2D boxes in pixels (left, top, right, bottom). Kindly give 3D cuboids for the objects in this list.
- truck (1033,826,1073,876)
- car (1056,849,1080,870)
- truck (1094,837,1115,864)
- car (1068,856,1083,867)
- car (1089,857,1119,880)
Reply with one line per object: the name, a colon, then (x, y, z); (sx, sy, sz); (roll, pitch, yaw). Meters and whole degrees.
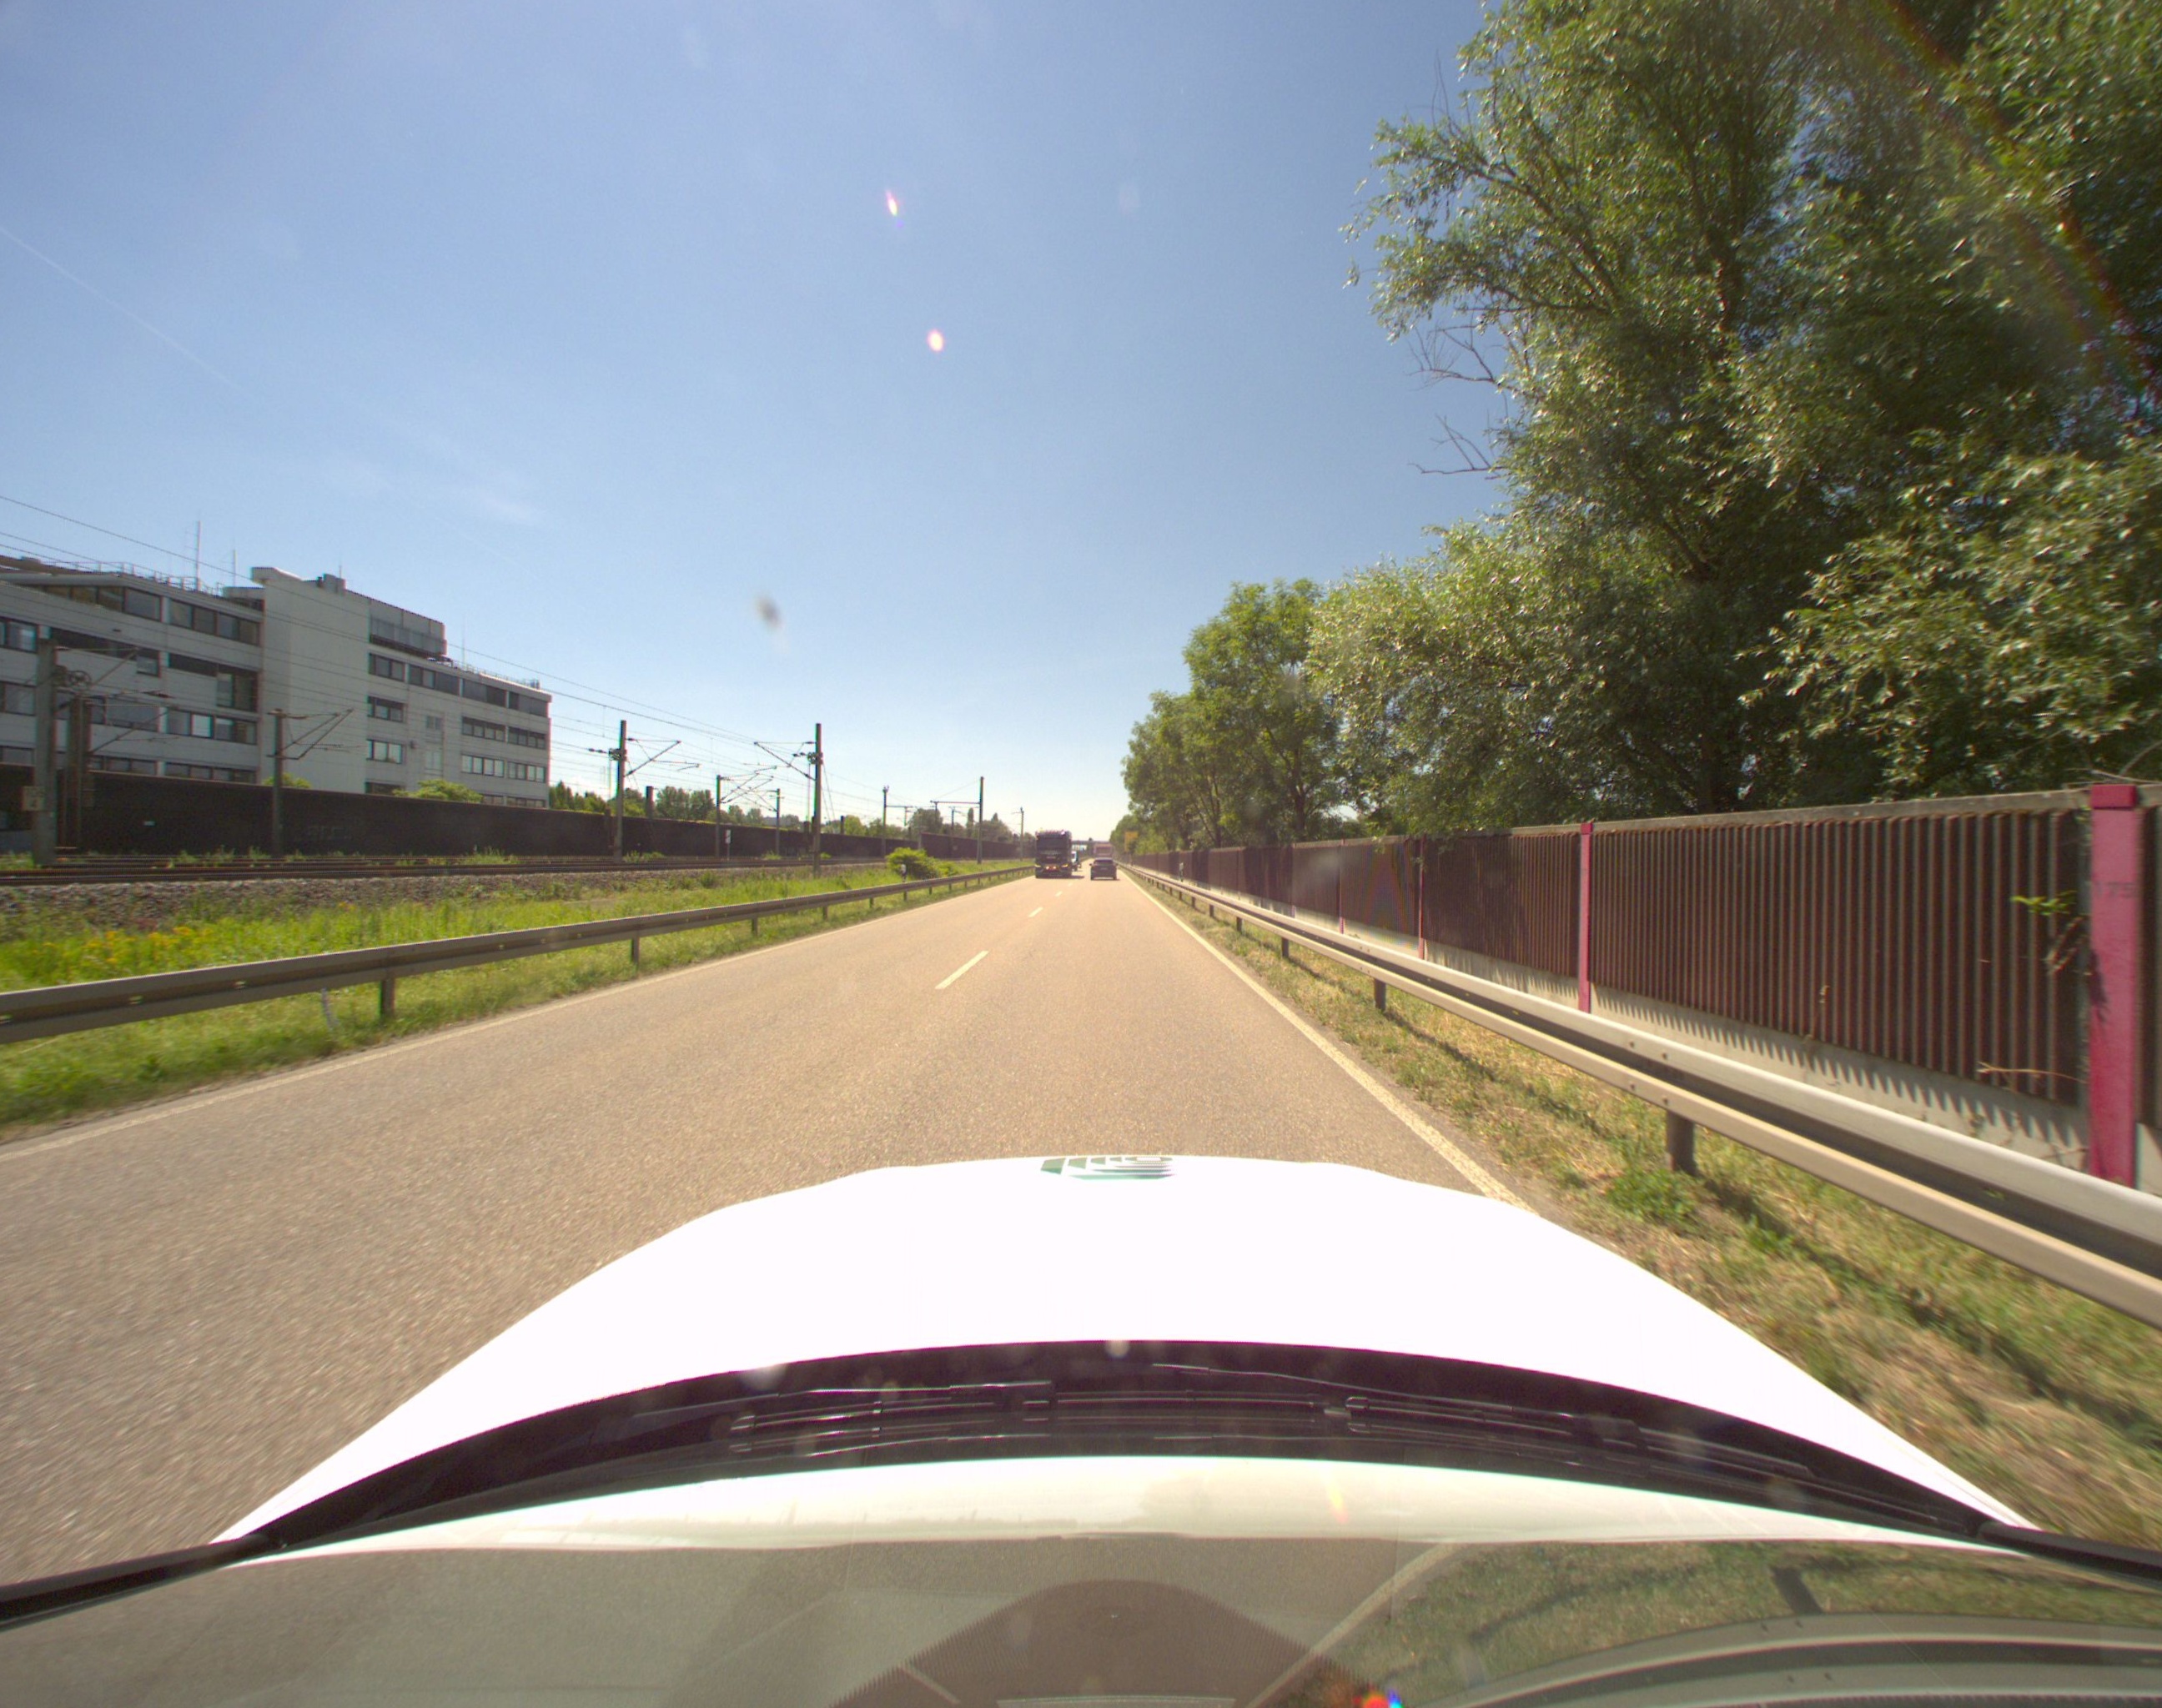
truck: (-2.114, -0.216, 64.753); (2.649, 3.627, 10.978); (0, 0, 1)
car: (-1.427, 0.590, 92.229); (2.252, 2.287, 6.239); (0, 0, 3)
truck: (3.212, -0.423, 111.350); (2.760, 3.425, 10.823); (0, 0, 2)
car: (-0.766, 1.086, 117.275); (1.967, 1.508, 4.164); (0, 0, 2)
car: (1.572, 0.968, 57.336); (1.987, 1.508, 3.999); (0, 0, -1)
